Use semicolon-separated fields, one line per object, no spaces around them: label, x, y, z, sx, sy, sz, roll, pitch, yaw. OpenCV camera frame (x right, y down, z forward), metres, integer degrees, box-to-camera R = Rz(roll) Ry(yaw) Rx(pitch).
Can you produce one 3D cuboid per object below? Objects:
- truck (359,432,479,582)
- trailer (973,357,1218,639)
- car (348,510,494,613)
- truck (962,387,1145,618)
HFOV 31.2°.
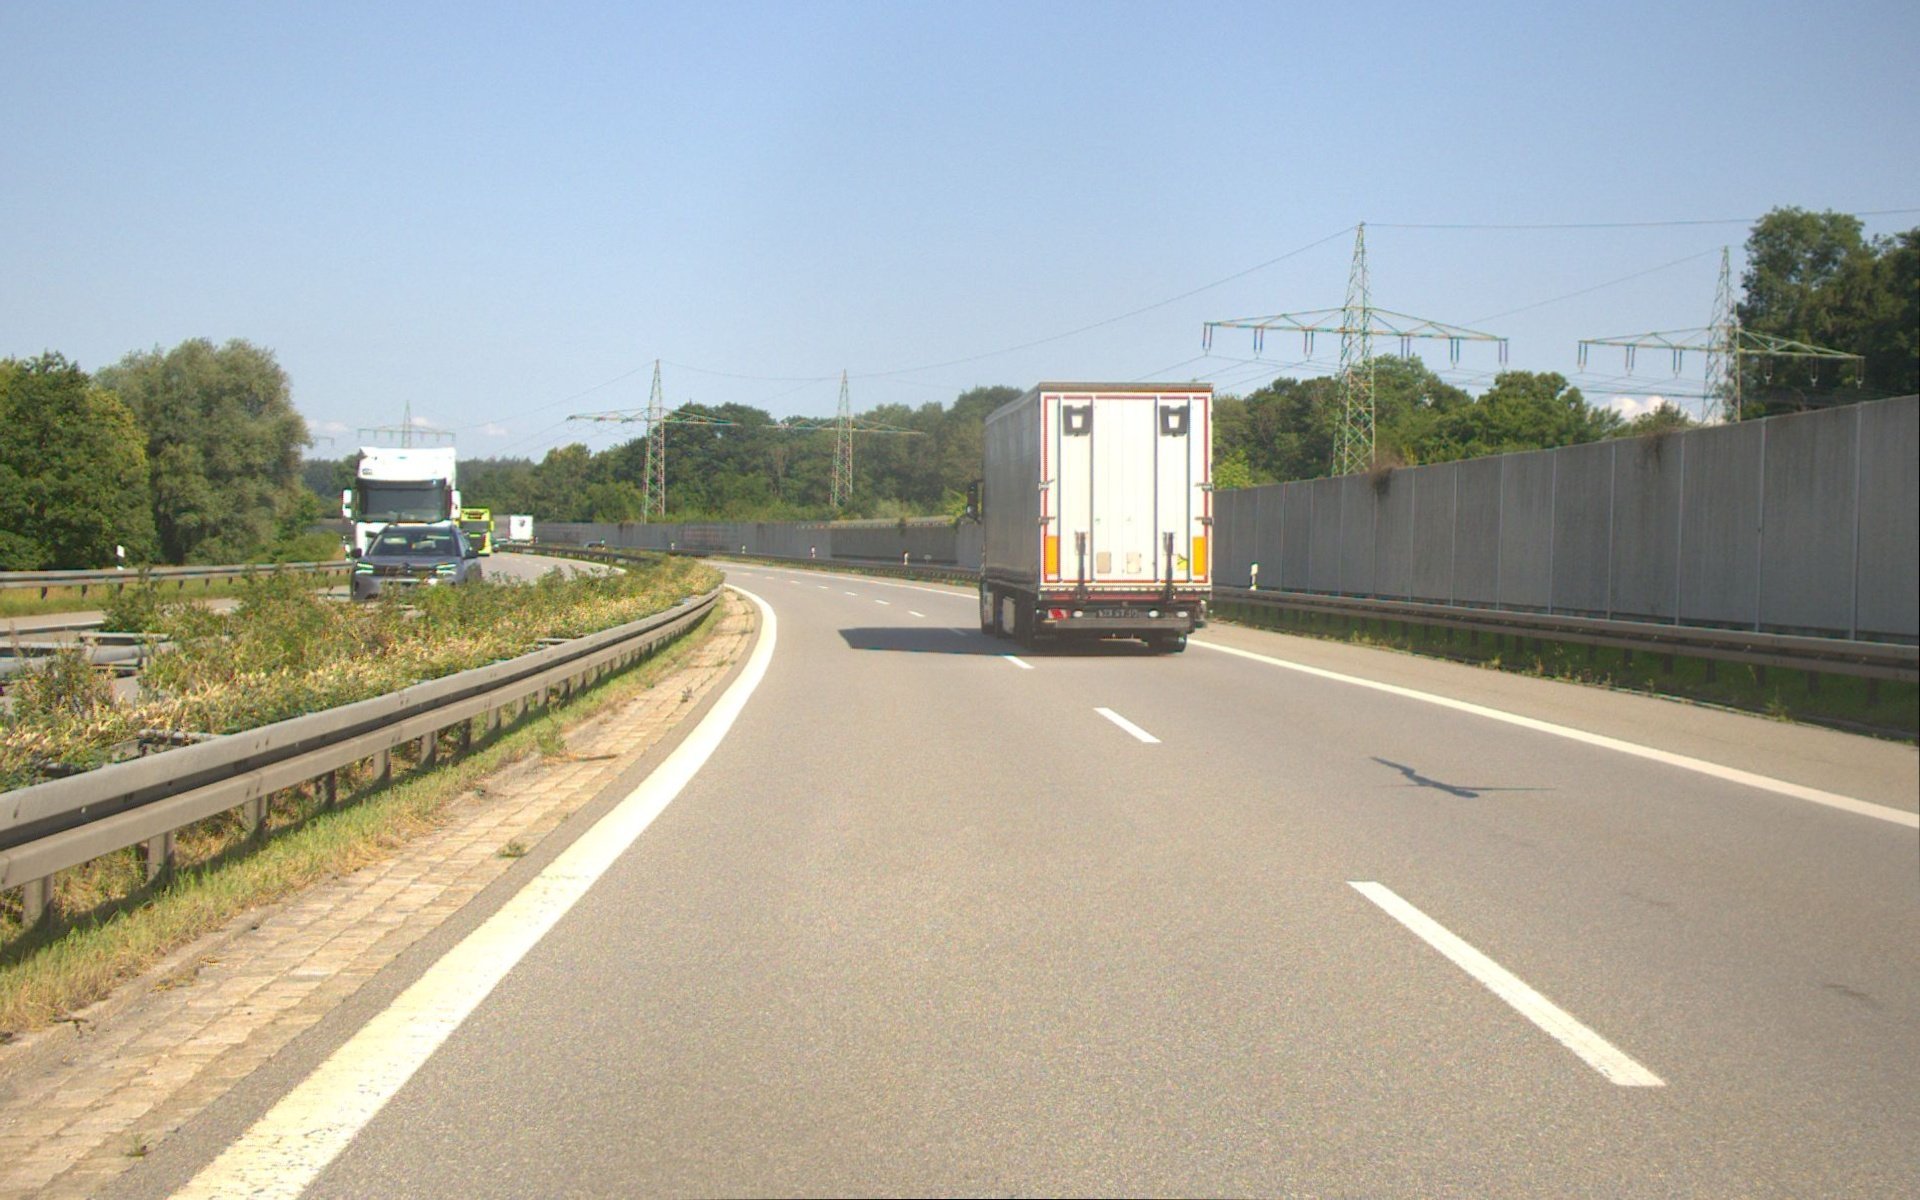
truck;-14.395;-2.432;91.884;2.624;3.826;6.811;1;1;-5
trailer;1.994;-1.538;56.165;2.884;4.052;12.421;1;0;-3
car;-8.796;-0.628;56.375;1.842;1.601;4.000;1;1;-1
truck;1.639;-1.740;63.437;2.830;3.998;6.588;1;0;-3
